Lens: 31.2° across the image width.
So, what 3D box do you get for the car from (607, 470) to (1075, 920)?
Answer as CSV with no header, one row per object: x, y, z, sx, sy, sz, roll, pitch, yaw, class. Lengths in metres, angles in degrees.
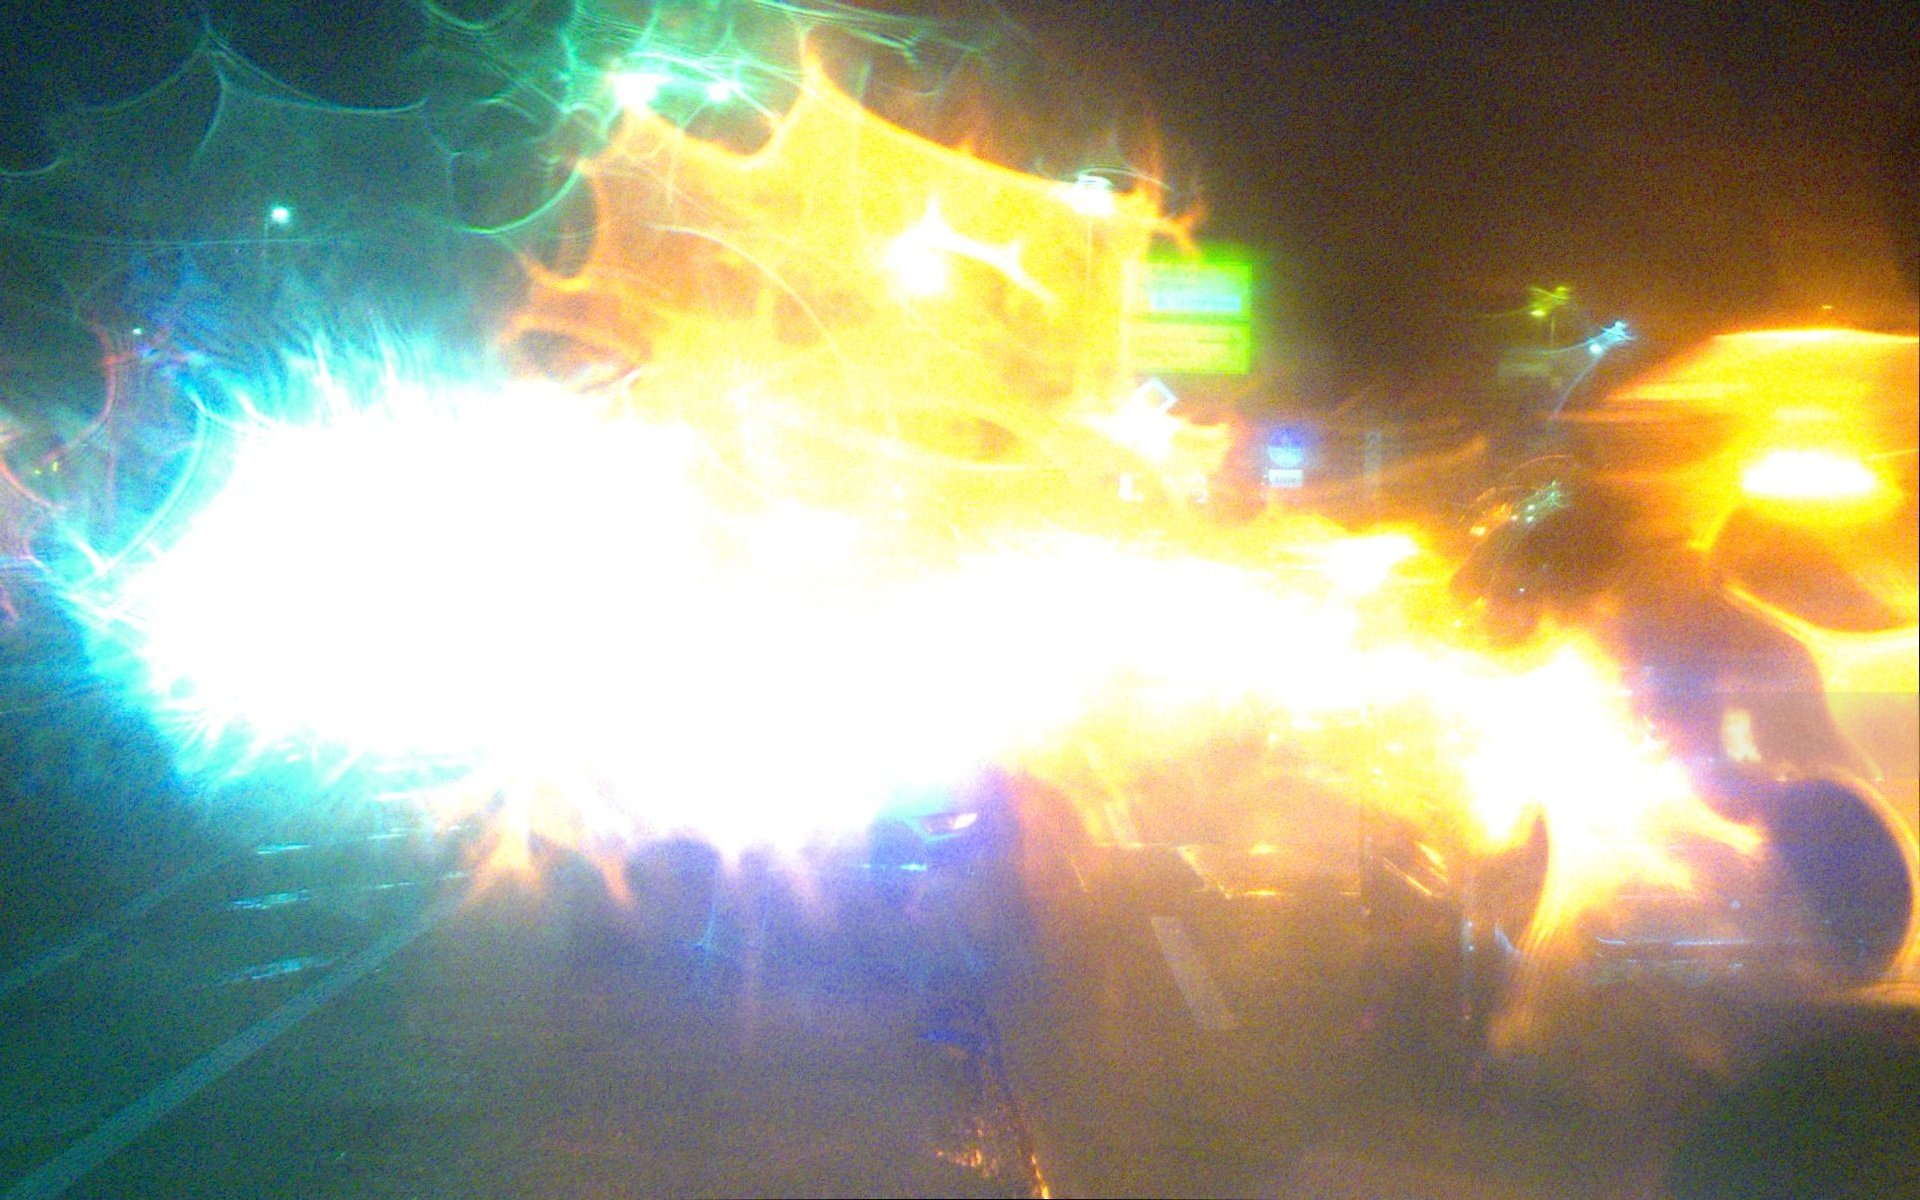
-0.440,0.326,14.563,1.694,1.624,3.853,1,1,0,car

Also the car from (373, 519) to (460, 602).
-13.005,-0.971,82.152,1.993,1.905,4.744,0,1,-9,car

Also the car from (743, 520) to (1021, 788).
-0.472,0.295,23.317,1.708,1.632,3.730,-1,1,0,car

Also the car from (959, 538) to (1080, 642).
0.846,-0.158,50.567,1.663,1.445,4.050,1,1,0,car

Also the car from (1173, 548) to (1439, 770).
2.483,0.366,25.521,1.768,1.445,4.218,1,2,3,car

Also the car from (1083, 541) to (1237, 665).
2.476,0.002,43.433,1.663,1.445,4.050,1,1,0,car

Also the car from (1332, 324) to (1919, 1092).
2.320,0.227,10.940,1.942,1.965,4.218,1,1,2,car

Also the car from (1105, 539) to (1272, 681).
2.407,0.079,36.991,1.663,1.445,4.050,0,1,2,car

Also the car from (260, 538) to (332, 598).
-21.689,-1.055,112.143,1.993,1.886,4.744,0,1,-15,car
